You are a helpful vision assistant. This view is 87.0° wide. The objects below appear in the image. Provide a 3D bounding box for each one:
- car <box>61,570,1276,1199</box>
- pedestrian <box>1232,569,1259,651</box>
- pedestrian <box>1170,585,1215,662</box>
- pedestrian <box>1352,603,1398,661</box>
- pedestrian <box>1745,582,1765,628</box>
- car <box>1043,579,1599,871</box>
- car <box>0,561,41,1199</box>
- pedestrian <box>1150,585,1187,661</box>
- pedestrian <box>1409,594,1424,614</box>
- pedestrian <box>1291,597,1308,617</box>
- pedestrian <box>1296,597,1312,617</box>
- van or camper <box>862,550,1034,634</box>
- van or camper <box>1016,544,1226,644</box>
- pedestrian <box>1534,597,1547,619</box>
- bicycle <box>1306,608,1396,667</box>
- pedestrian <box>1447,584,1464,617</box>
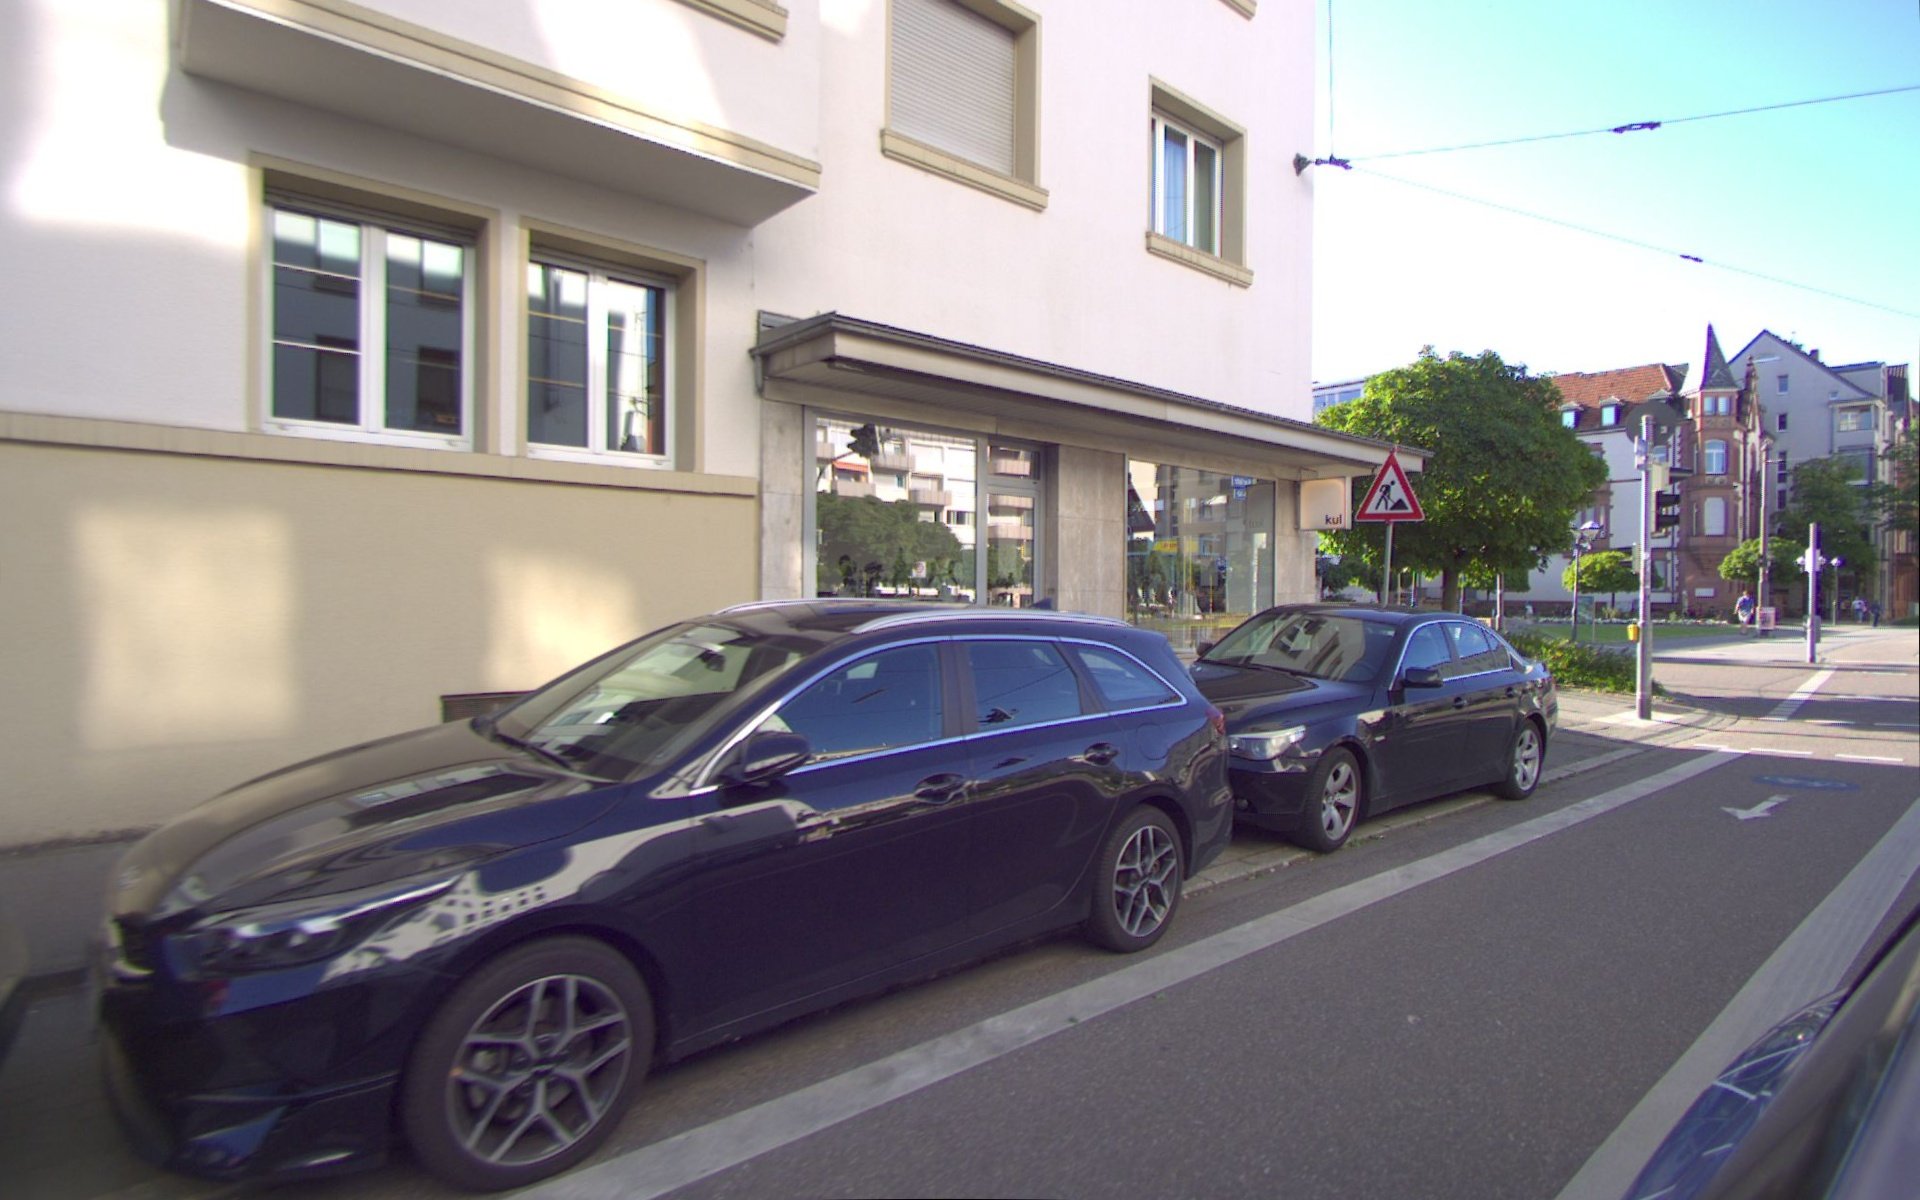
[{"bbox_3d":[-0.712,0.700,4.155,4.431,1.525,1.860,-1,3,-43],"label":"car"},{"bbox_3d":[6.395,0.212,22.691,0.545,1.811,0.539,1,0,16],"label":"pedestrian"},{"bbox_3d":[5.003,0.489,21.785,0.731,1.623,0.615,0,0,-40],"label":"pedestrian"},{"bbox_3d":[9.000,0.682,21.955,0.540,1.228,0.735,0,0,-33],"label":"pedestrian"},{"bbox_3d":[34.819,0.224,44.328,0.645,1.980,0.577,0,0,33],"label":"pedestrian"},{"bbox_3d":[2.999,0.663,7.760,4.831,1.525,1.753,0,3,-40],"label":"car"},{"bbox_3d":[-3.876,0.705,1.197,4.022,1.525,1.862,0,3,-40],"label":"car"},{"bbox_3d":[4.590,0.491,22.261,0.581,1.623,0.552,0,0,-40],"label":"pedestrian"},{"bbox_3d":[30.832,0.268,68.354,0.668,1.308,0.709,0,0,-43],"label":"pedestrian"},{"bbox_3d":[19.855,0.407,59.211,0.765,1.165,0.628,1,0,41],"label":"pedestrian"},{"bbox_3d":[20.351,0.398,59.792,0.714,1.165,0.628,1,0,41],"label":"pedestrian"},{"bbox_3d":[-0.599,-0.340,37.934,2.868,2.849,6.930,0,1,-38],"label":"van or camper"},{"bbox_3d":[4.917,-0.231,32.223,2.179,2.849,6.927,0,1,-39],"label":"van or camper"},{"bbox_3d":[29.072,0.381,50.674,0.445,1.096,0.449,0,0,10],"label":"pedestrian"},{"bbox_3d":[7.186,0.672,18.672,0.352,0.997,1.669,0,1,-32],"label":"bicycle"},{"bbox_3d":[24.565,0.006,50.172,0.640,1.622,0.699,0,0,14],"label":"pedestrian"}]
